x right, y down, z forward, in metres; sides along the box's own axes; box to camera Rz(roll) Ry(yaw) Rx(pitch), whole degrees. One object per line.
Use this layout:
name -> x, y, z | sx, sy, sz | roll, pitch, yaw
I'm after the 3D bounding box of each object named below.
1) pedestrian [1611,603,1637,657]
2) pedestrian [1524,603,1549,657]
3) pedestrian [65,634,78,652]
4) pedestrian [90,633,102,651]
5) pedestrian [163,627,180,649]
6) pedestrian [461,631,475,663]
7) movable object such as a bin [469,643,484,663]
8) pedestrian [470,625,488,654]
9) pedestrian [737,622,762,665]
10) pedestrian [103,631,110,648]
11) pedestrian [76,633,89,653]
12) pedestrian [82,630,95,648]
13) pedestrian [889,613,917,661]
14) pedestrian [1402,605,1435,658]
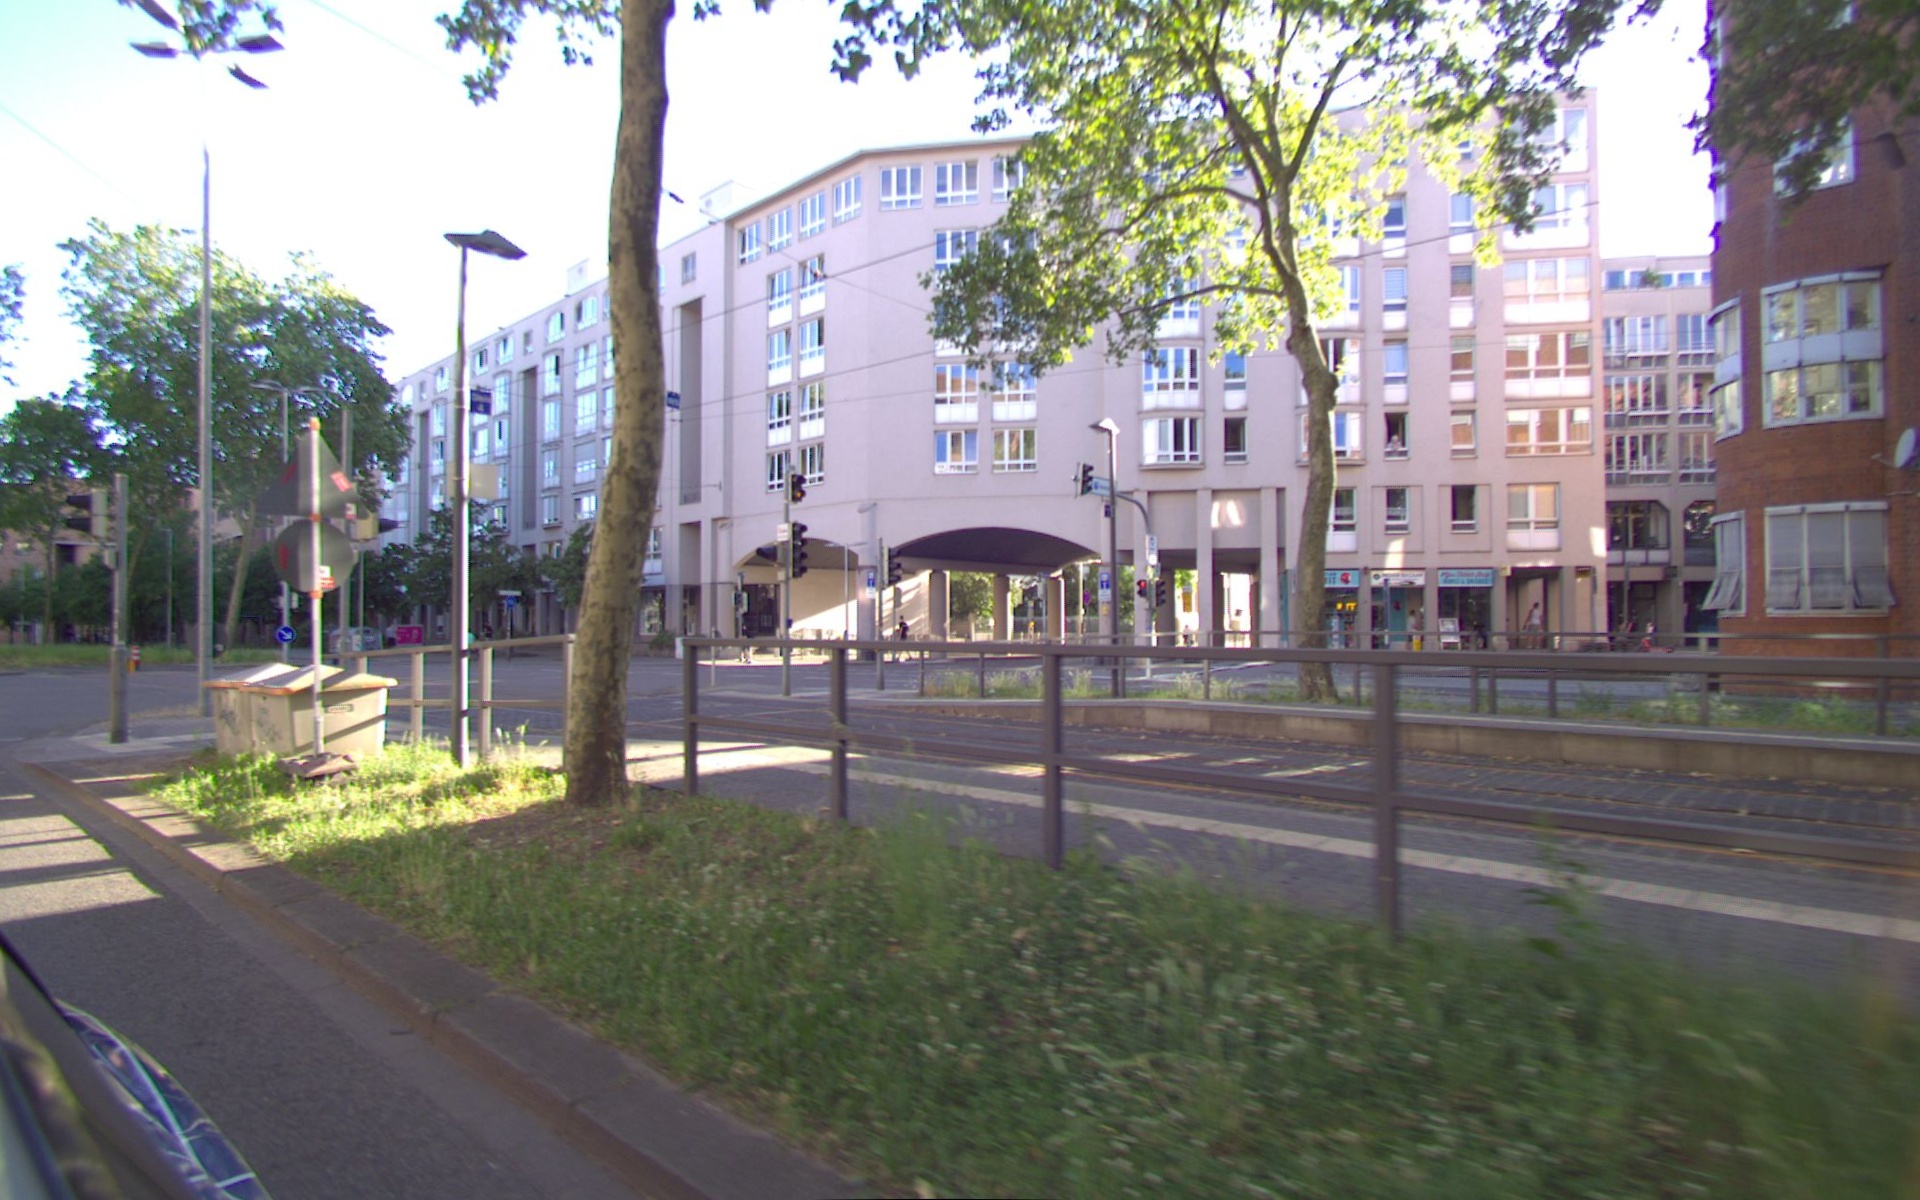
pedestrian -> 24.061, 1.078, 36.676 | 0.658, 1.951, 0.613 | -1, -2, 26
pedestrian -> 21.749, 1.132, 38.180 | 0.662, 2.029, 0.610 | -2, -2, 42
pedestrian -> -81.095, 3.916, 92.369 | 0.754, 1.629, 0.659 | -2, -2, 31
pedestrian -> -79.076, 3.847, 92.623 | 0.594, 1.692, 0.606 | -2, -2, 31
pedestrian -> -64.668, 3.123, 82.977 | 0.898, 1.845, 0.817 | -2, -2, 33
pedestrian -> -24.051, 2.297, 49.429 | 0.525, 1.515, 0.622 | 1, -2, -34
movable object such as a bin -> -23.368, 2.558, 48.919 | 0.504, 0.960, 0.540 | 1, -2, -44
pedestrian -> -27.577, 2.239, 58.040 | 0.788, 1.651, 0.699 | -2, -2, 43
pedestrian -> -9.243, 1.916, 44.441 | 0.748, 1.884, 0.850 | -1, -2, 27
pedestrian -> -78.236, 3.647, 92.743 | 0.477, 1.517, 0.464 | 1, -3, -39
pedestrian -> -79.408, 3.902, 91.579 | 0.794, 1.735, 0.659 | -2, -2, 31
pedestrian -> -79.291, 3.575, 92.049 | 0.754, 1.629, 0.659 | -2, -2, 31
pedestrian -> -2.447, 1.591, 43.320 | 0.888, 2.029, 0.825 | -2, -2, 44
pedestrian -> 17.223, 1.166, 38.024 | 0.746, 1.957, 0.826 | 1, -2, -33
